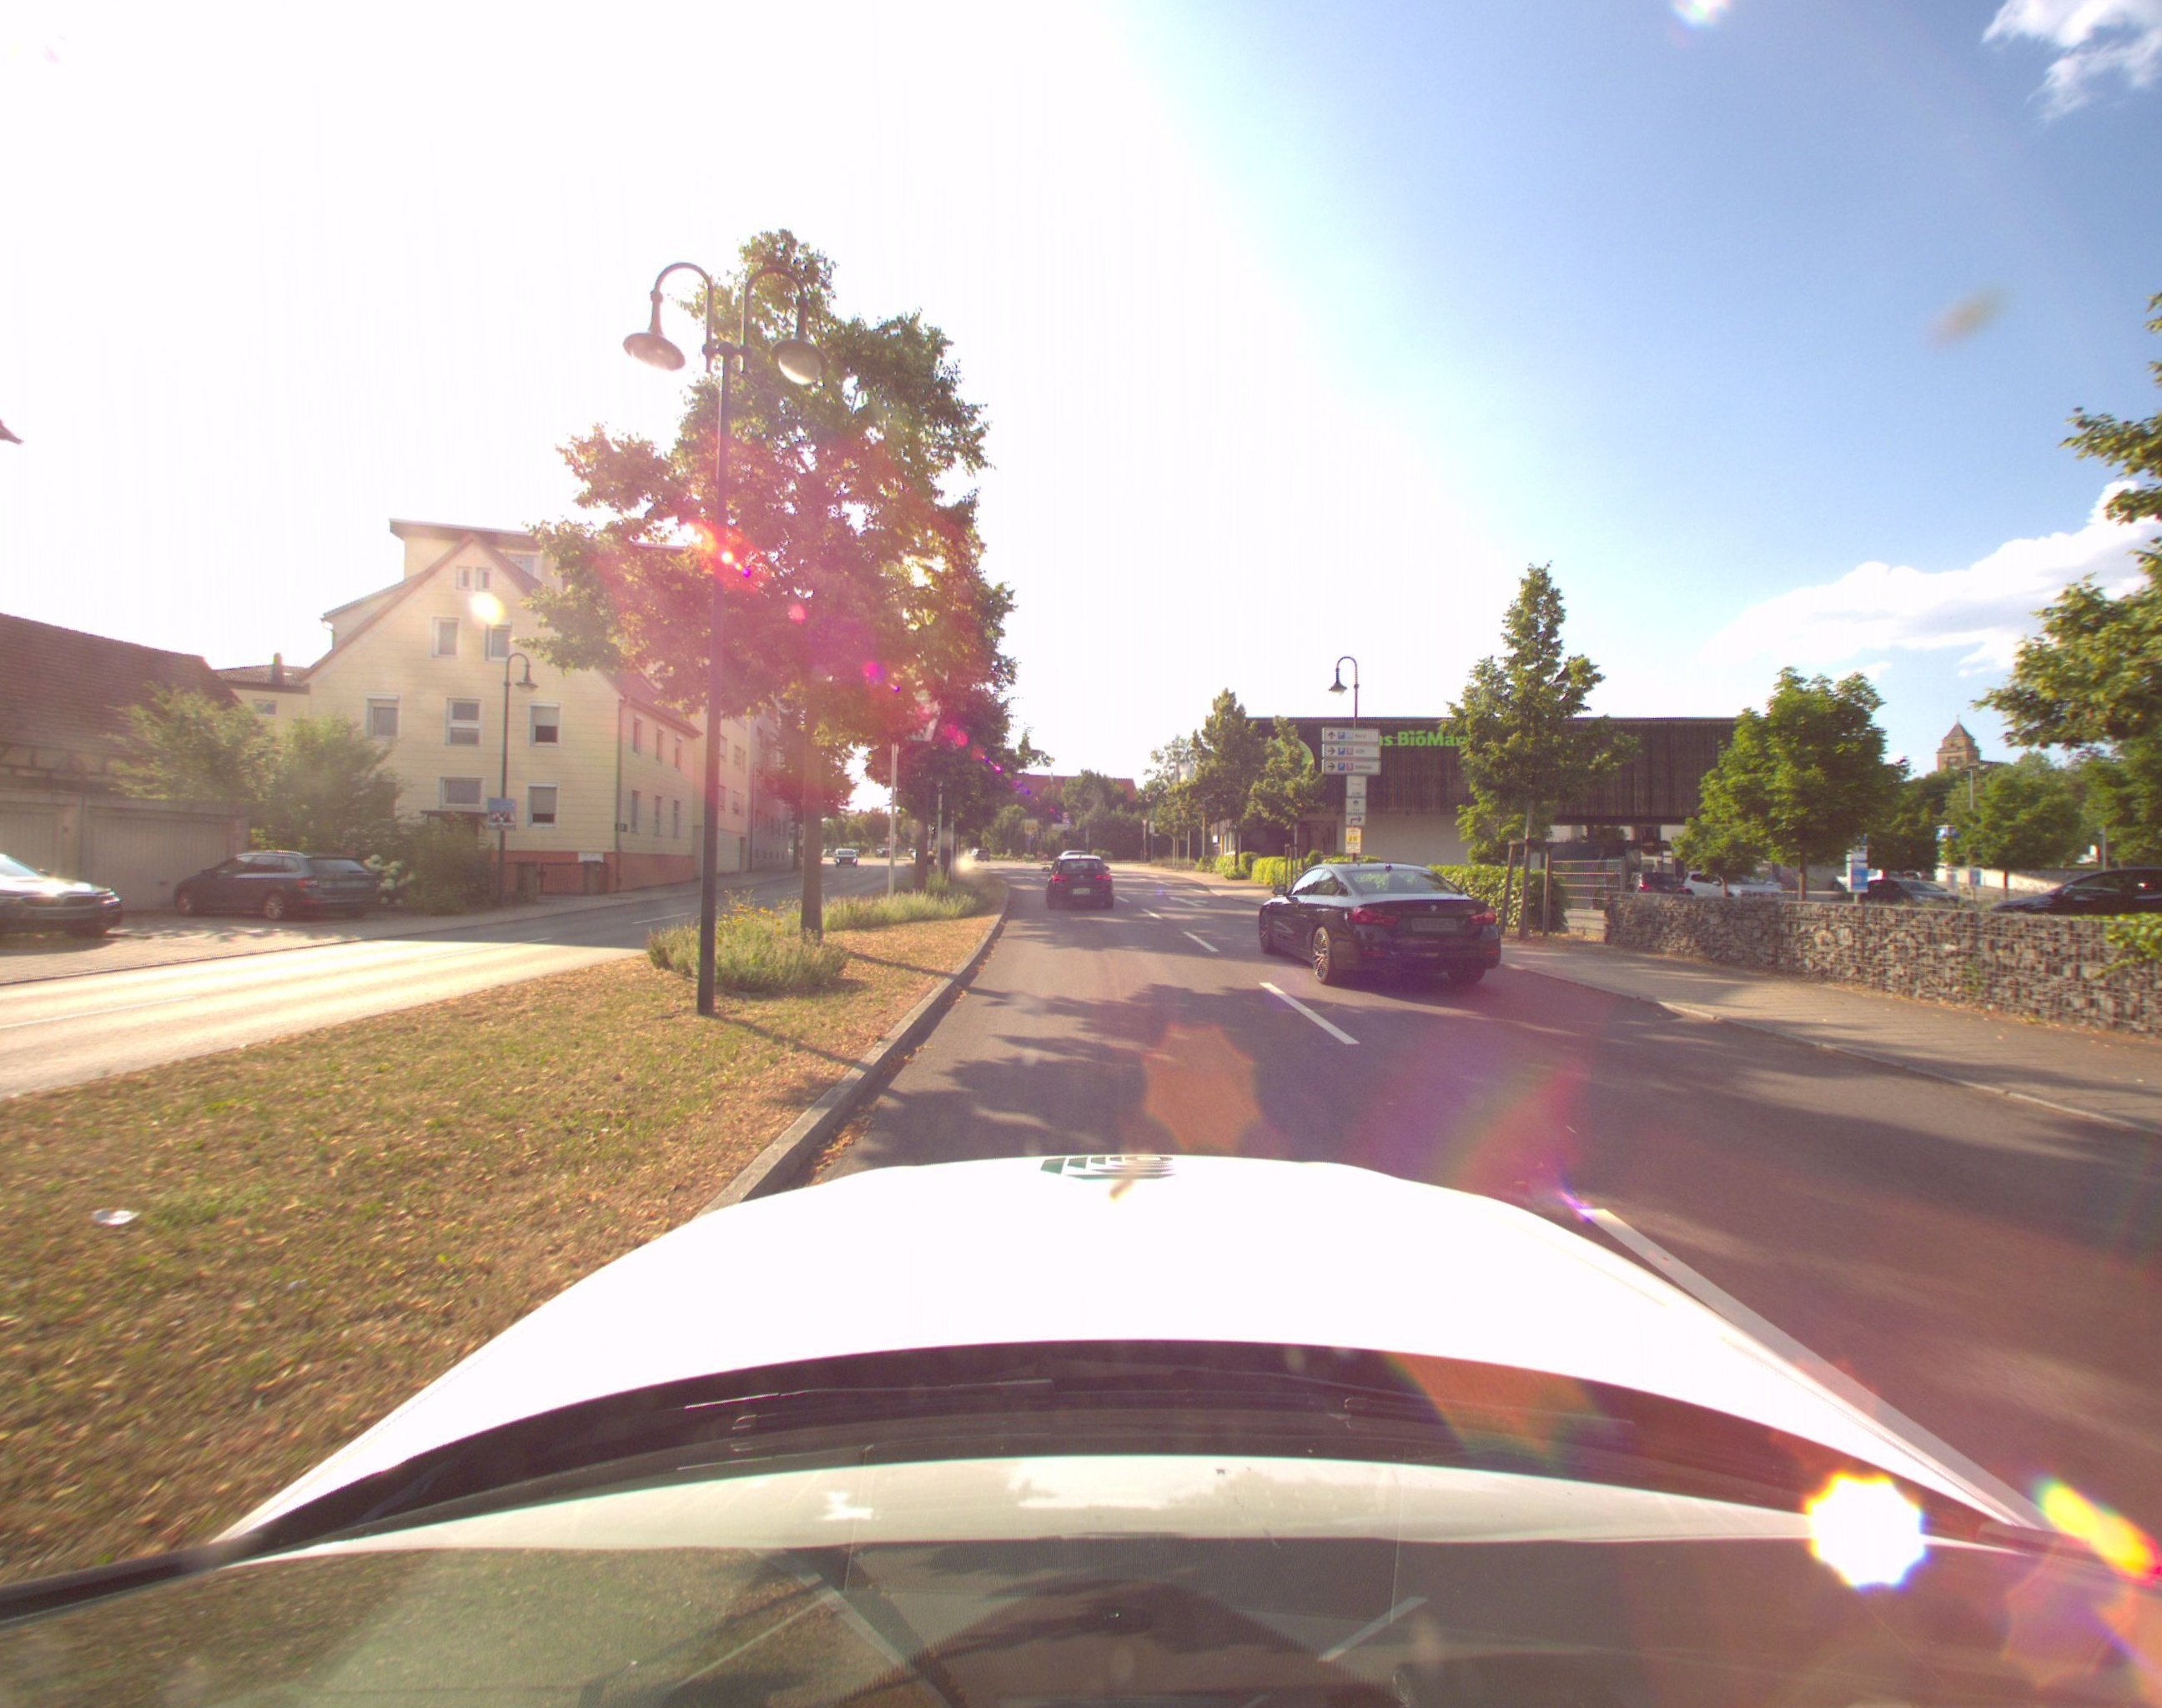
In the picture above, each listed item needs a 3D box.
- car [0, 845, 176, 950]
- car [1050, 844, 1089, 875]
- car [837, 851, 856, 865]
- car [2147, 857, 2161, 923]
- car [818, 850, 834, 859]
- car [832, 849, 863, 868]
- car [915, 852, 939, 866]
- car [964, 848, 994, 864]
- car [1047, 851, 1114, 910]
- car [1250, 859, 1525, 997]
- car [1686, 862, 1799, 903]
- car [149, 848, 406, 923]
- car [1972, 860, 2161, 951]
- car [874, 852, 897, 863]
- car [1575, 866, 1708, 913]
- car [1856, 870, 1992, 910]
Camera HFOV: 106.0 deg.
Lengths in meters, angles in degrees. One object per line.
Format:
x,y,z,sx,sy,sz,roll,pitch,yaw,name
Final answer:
-17.518,0.615,13.056,4.319,1.486,2.017,1,0,10,car
-0.739,0.320,49.156,1.923,1.769,4.443,0,0,-7,car
-26.144,0.420,90.799,1.605,1.486,3.771,-1,0,-10,car
29.056,1.004,19.398,1.879,1.723,4.324,3,1,7,car
-50.331,0.175,160.783,2.231,1.769,4.411,0,0,-30,car
-20.407,0.383,71.301,1.938,1.486,4.314,2,0,-7,car
-20.865,0.667,110.212,2.269,1.674,4.551,2,0,-24,car
-12.065,0.245,95.936,2.269,1.674,4.551,2,0,-24,car
-0.012,0.694,23.184,1.715,1.490,4.352,1,0,0,car
3.566,0.765,10.455,1.914,1.364,4.352,0,0,0,car
29.148,1.213,36.044,1.984,1.628,4.006,1,0,5,car
-17.795,0.646,18.120,4.318,1.486,1.952,1,0,12,car
19.313,0.926,14.496,1.986,1.531,4.550,3,0,2,car
-30.393,0.505,126.560,2.231,1.769,4.411,0,0,-30,car
20.884,1.257,30.597,1.986,1.539,4.550,1,0,2,car
36.598,1.524,35.522,1.984,1.551,4.006,1,0,5,car
